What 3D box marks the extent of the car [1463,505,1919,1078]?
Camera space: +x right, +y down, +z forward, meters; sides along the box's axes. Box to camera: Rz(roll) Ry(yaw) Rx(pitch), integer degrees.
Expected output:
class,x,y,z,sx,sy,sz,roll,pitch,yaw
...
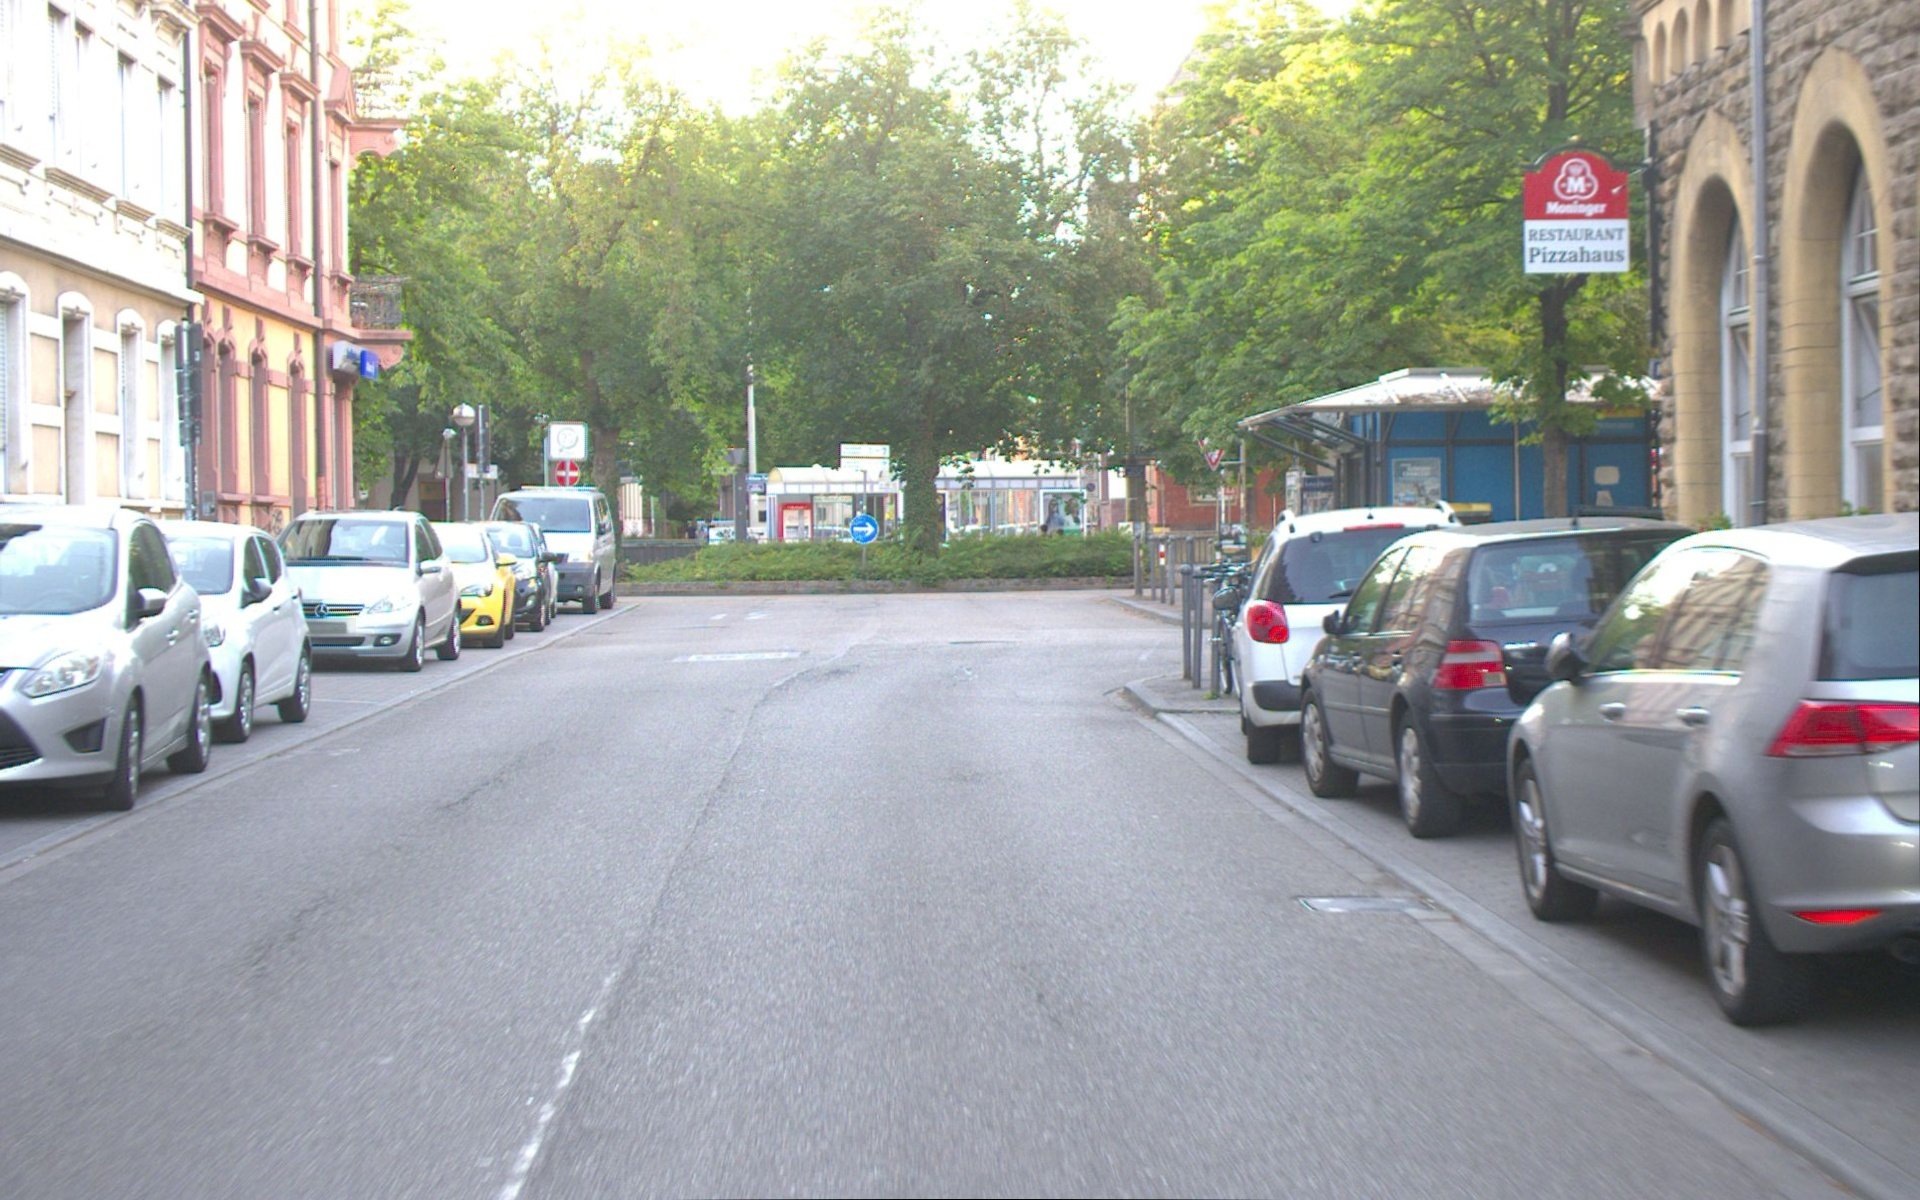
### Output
class,x,y,z,sx,sy,sz,roll,pitch,yaw
car,2.931,0.457,11.387,1.676,1.451,4.231,-3,2,-2

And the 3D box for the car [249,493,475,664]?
class,x,y,z,sx,sy,sz,roll,pitch,yaw
car,-6.058,-0.250,35.209,1.698,1.615,4.022,1,1,-2

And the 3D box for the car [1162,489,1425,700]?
class,x,y,z,sx,sy,sz,roll,pitch,yaw
car,2.633,-0.095,27.941,1.676,1.496,4.018,-3,2,0

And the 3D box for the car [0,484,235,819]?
class,x,y,z,sx,sy,sz,roll,pitch,yaw
car,-5.260,0.213,19.105,1.844,1.653,4.253,-1,1,-4

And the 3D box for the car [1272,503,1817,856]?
class,x,y,z,sx,sy,sz,roll,pitch,yaw
car,2.758,0.305,17.051,1.676,1.451,3.801,-4,2,-5

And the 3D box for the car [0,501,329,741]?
class,x,y,z,sx,sy,sz,roll,pitch,yaw
car,-5.613,0.098,24.382,1.698,1.547,3.570,1,1,-2

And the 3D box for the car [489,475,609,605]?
class,x,y,z,sx,sy,sz,roll,pitch,yaw
car,-6.604,-0.981,55.528,1.810,1.970,4.187,1,1,-6

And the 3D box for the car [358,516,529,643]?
class,x,y,z,sx,sy,sz,roll,pitch,yaw
car,-6.177,-0.286,41.465,1.698,1.421,4.023,1,1,-4

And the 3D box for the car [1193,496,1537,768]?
class,x,y,z,sx,sy,sz,roll,pitch,yaw
car,2.509,0.134,22.123,1.676,1.496,3.901,-3,2,0

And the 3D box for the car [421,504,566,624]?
class,x,y,z,sx,sy,sz,roll,pitch,yaw
car,-6.389,-0.517,47.390,1.698,1.547,4.023,1,1,-4
